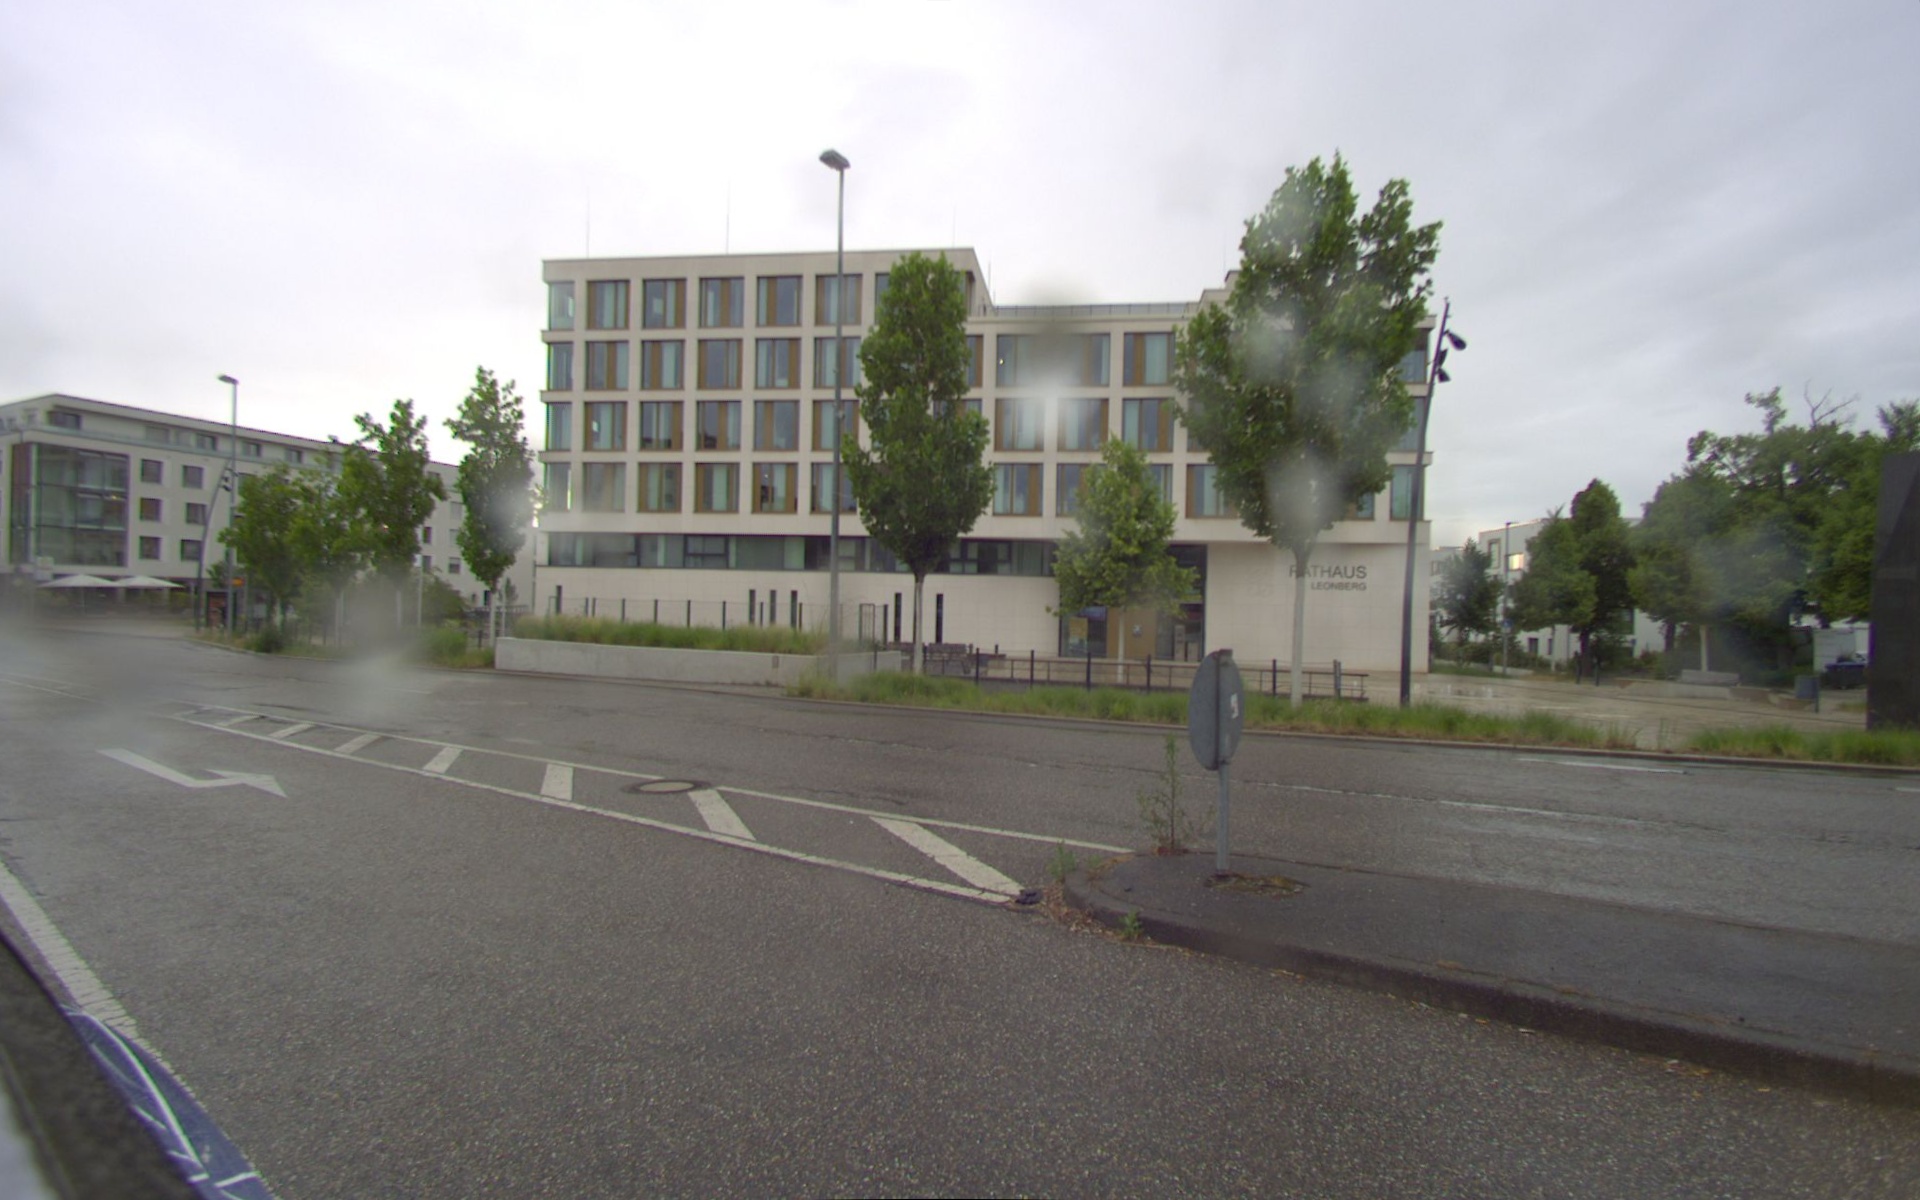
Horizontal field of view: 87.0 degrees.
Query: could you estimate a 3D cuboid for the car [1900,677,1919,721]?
[{"bbox_3d":[33.723,3.416,33.634,1.567,1.478,3.990,0,-2,7],"label":"car"}]
